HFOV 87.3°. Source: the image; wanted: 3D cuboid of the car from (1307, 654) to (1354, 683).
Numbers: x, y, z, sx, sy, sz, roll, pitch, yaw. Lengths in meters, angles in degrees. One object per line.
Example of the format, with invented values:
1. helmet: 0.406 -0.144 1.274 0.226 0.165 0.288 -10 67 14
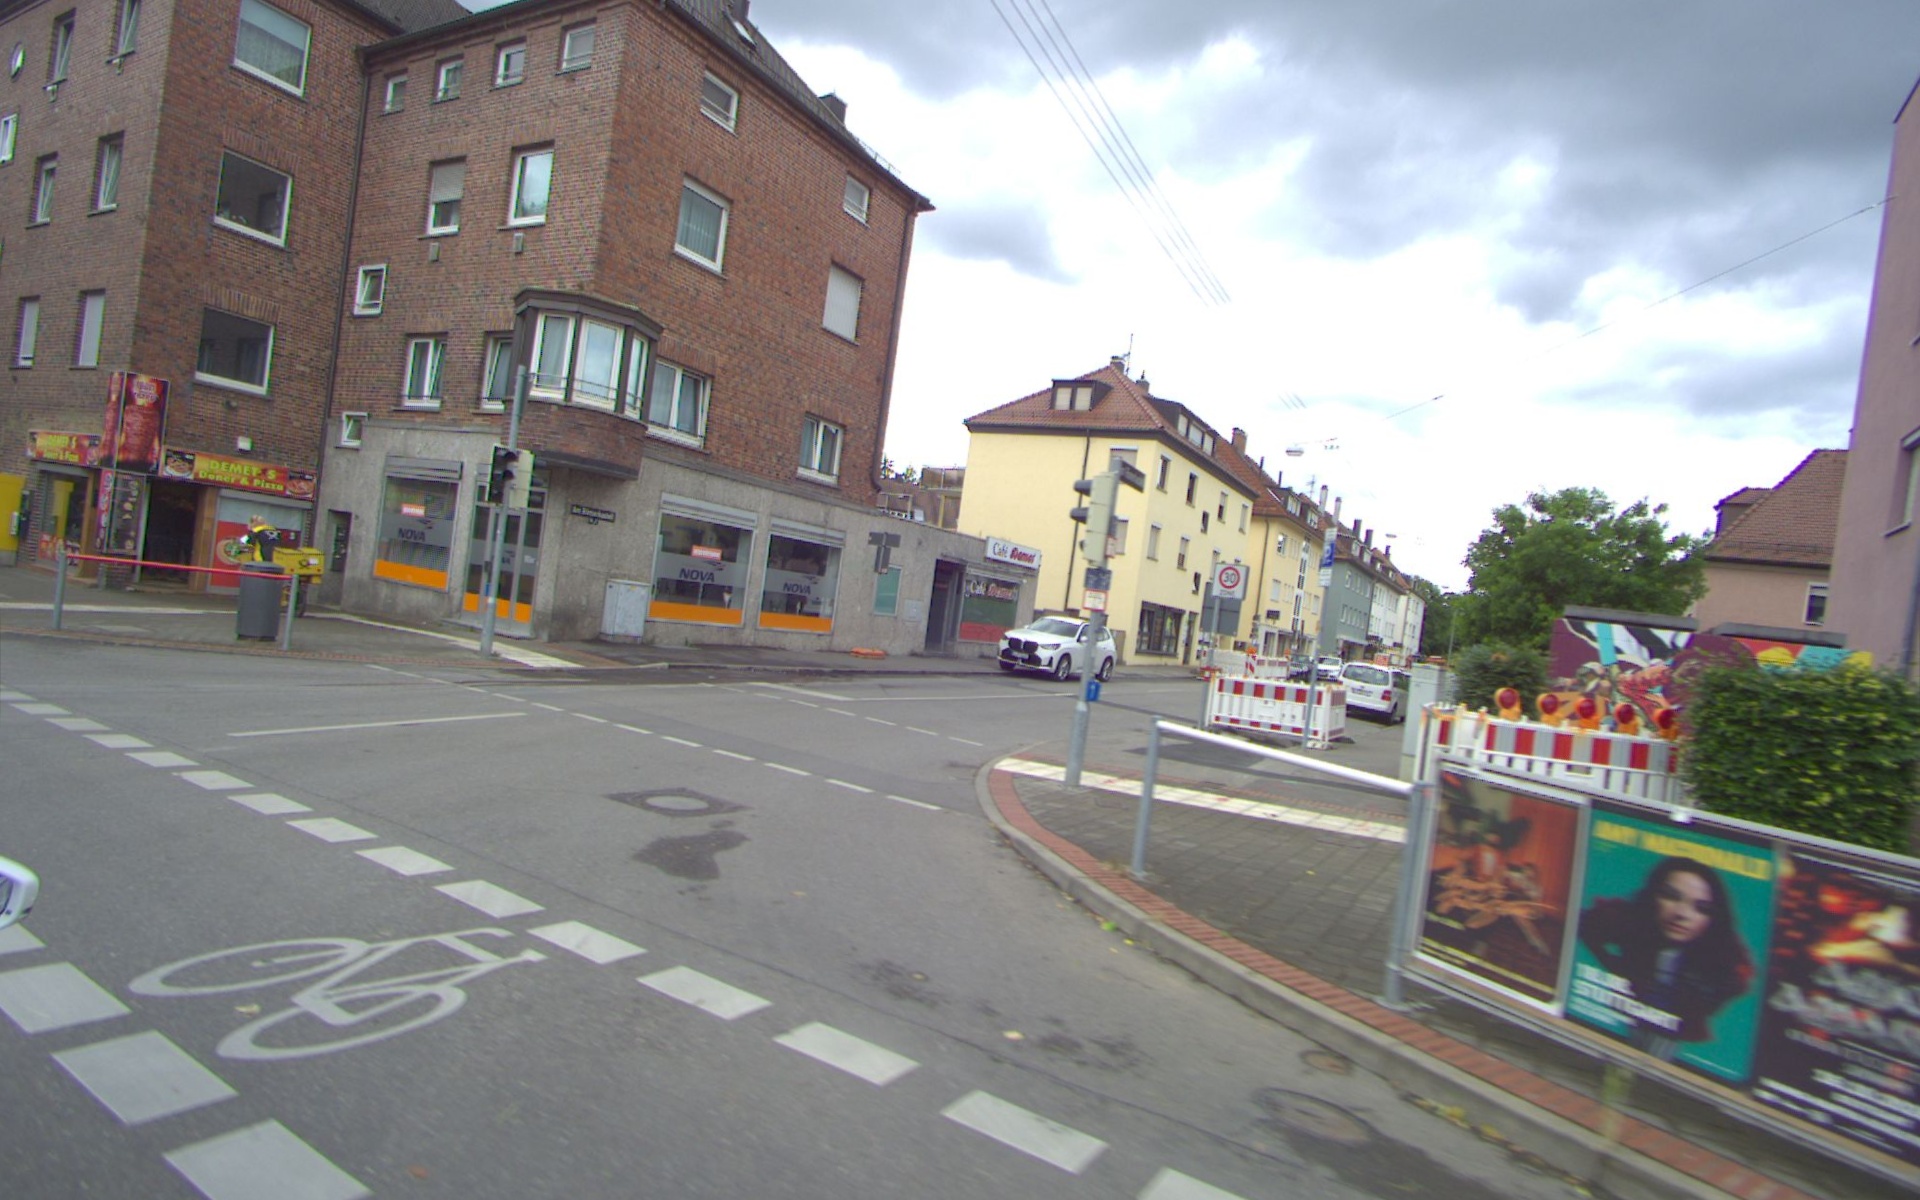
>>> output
1. car: 21.891 4.061 59.360 1.677 1.437 3.993 6 -1 32

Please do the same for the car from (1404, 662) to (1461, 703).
1. car: 22.320 3.923 47.444 1.738 1.537 3.790 11 1 32

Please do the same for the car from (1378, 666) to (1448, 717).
1. car: 17.621 3.554 39.021 1.738 1.537 3.790 11 1 32

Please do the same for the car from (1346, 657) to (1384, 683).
1. car: 28.118 4.869 69.813 1.676 1.437 3.993 6 -1 31

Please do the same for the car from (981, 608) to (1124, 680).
1. car: 2.698 1.283 28.245 1.957 1.630 4.522 6 -1 34

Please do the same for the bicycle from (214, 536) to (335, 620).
1. bicycle: -12.053 -0.394 17.666 2.352 1.208 0.761 6 -1 31

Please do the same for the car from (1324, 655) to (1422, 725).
1. car: 12.690 2.768 30.758 1.814 1.666 4.253 11 1 32

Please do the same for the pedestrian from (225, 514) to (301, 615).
1. pedestrian: -12.301 -0.625 17.759 0.759 1.678 0.788 7 2 32
